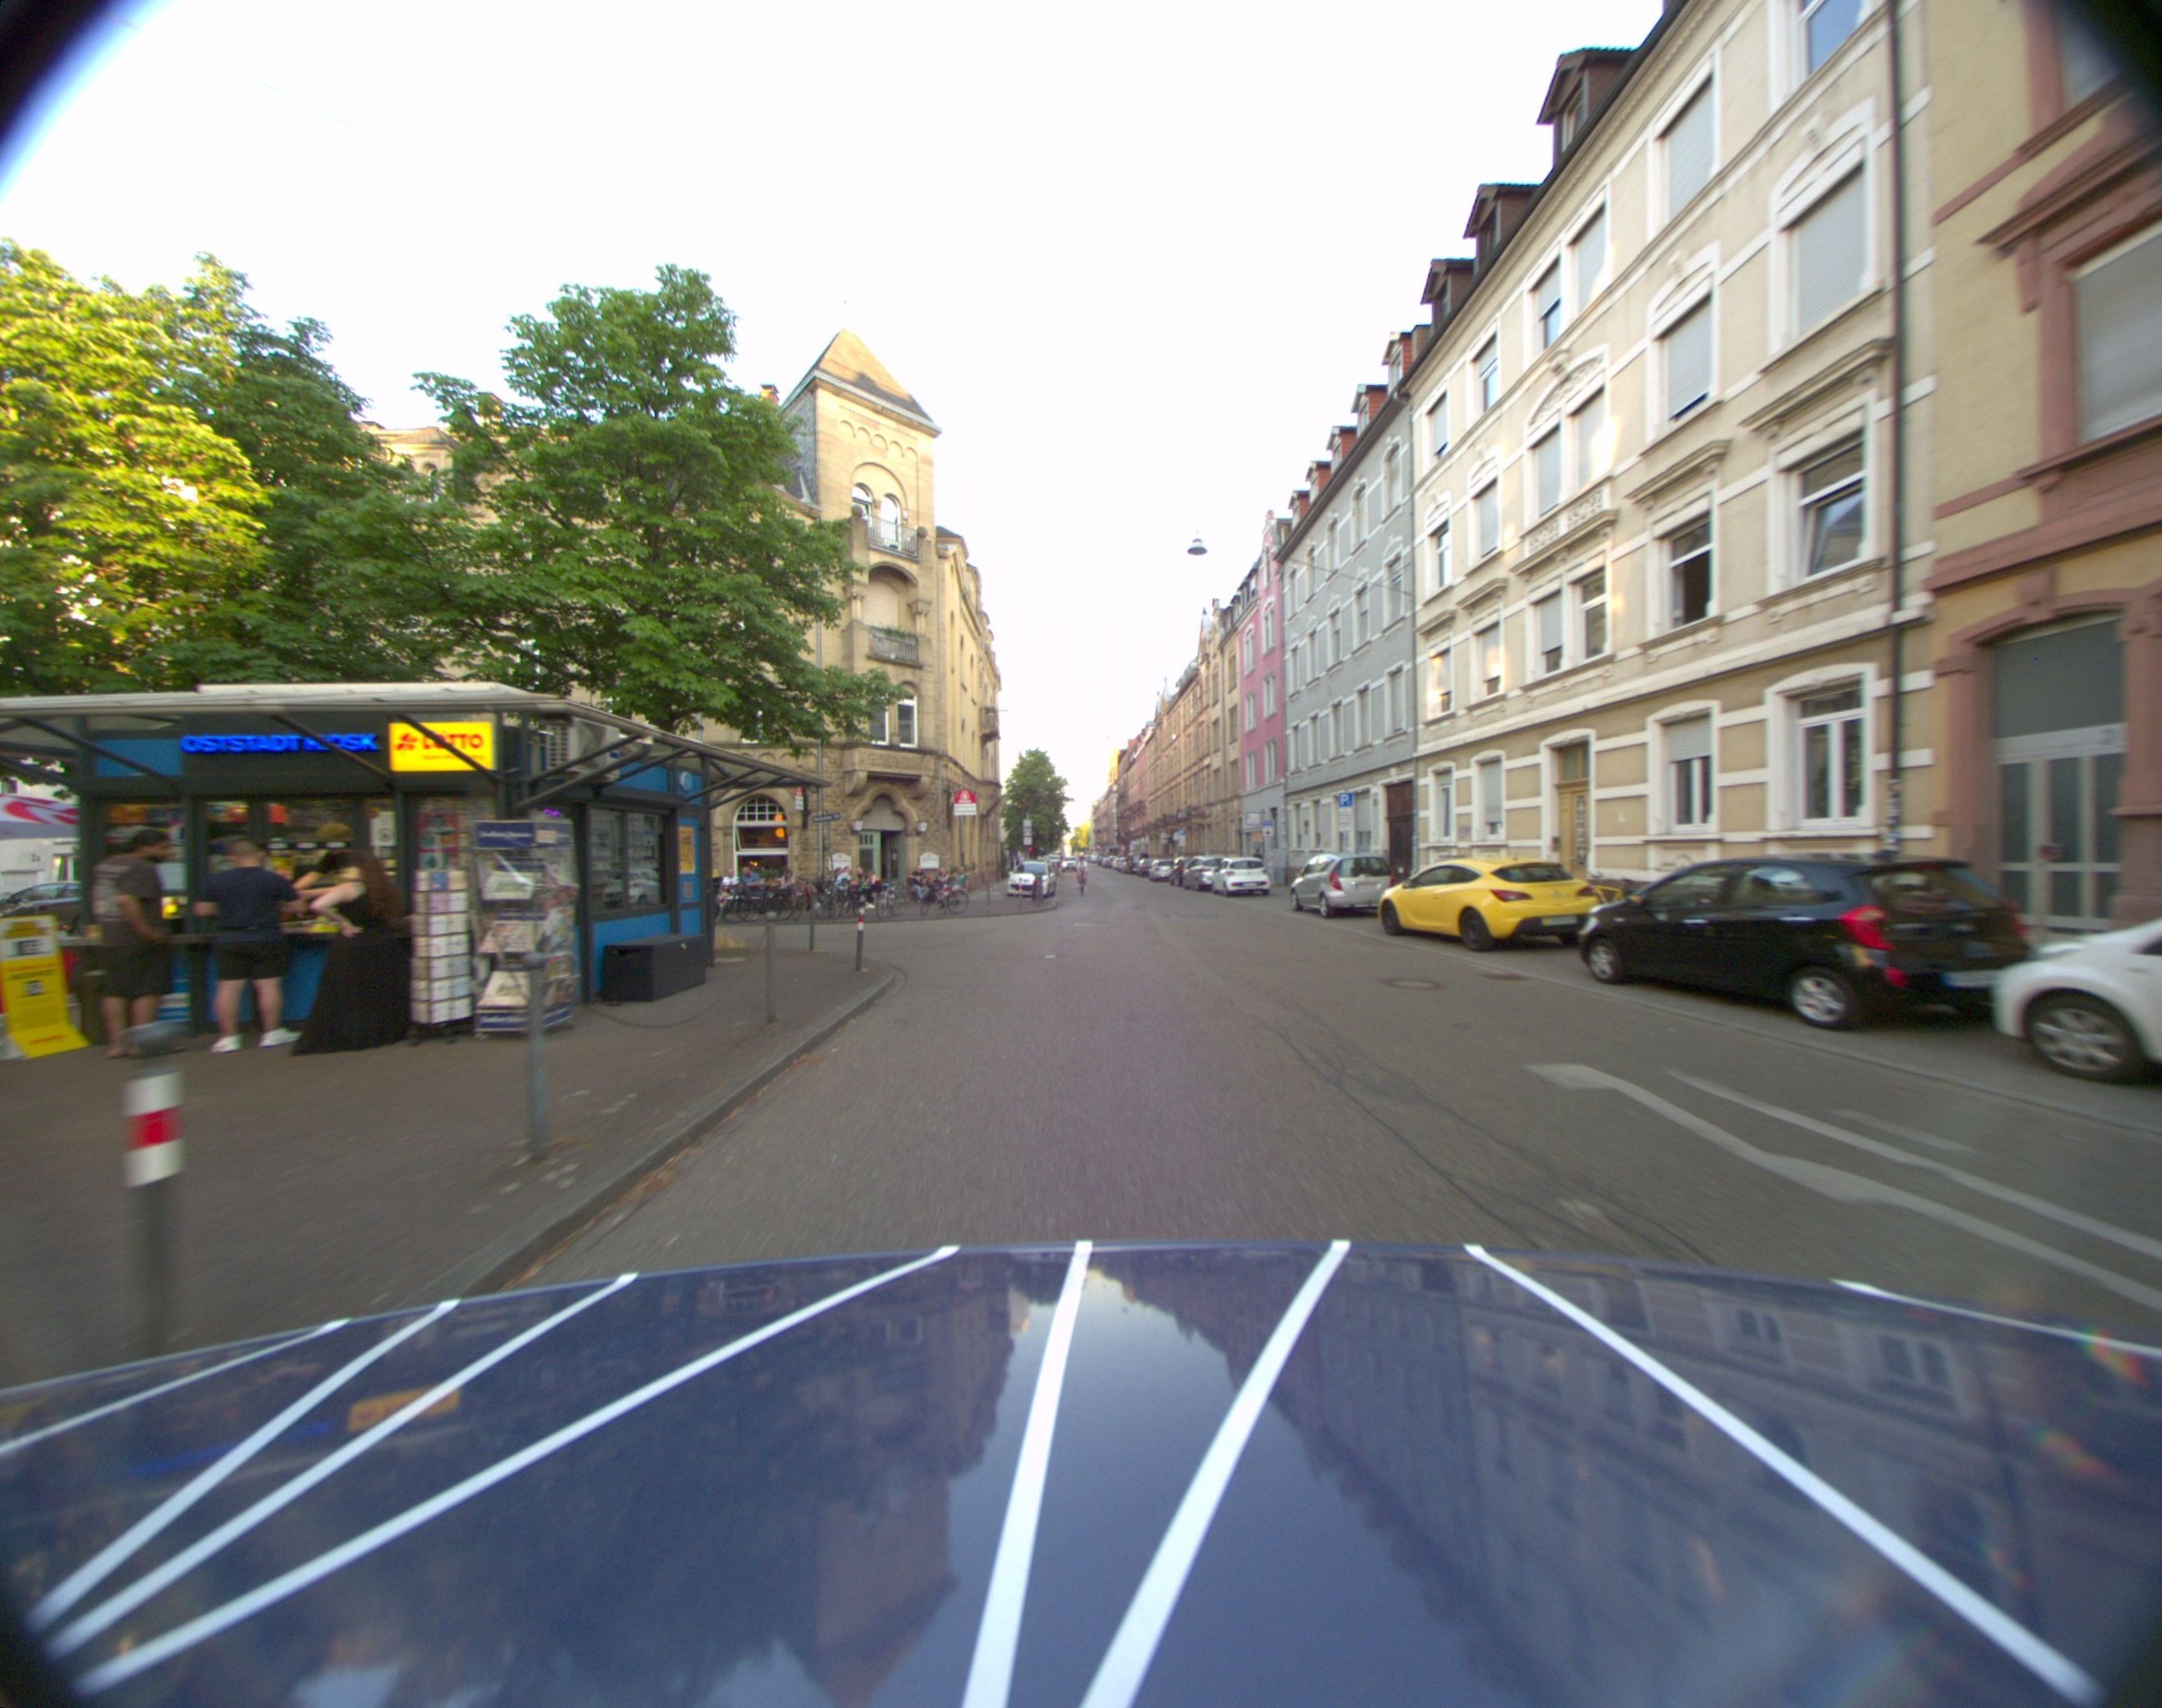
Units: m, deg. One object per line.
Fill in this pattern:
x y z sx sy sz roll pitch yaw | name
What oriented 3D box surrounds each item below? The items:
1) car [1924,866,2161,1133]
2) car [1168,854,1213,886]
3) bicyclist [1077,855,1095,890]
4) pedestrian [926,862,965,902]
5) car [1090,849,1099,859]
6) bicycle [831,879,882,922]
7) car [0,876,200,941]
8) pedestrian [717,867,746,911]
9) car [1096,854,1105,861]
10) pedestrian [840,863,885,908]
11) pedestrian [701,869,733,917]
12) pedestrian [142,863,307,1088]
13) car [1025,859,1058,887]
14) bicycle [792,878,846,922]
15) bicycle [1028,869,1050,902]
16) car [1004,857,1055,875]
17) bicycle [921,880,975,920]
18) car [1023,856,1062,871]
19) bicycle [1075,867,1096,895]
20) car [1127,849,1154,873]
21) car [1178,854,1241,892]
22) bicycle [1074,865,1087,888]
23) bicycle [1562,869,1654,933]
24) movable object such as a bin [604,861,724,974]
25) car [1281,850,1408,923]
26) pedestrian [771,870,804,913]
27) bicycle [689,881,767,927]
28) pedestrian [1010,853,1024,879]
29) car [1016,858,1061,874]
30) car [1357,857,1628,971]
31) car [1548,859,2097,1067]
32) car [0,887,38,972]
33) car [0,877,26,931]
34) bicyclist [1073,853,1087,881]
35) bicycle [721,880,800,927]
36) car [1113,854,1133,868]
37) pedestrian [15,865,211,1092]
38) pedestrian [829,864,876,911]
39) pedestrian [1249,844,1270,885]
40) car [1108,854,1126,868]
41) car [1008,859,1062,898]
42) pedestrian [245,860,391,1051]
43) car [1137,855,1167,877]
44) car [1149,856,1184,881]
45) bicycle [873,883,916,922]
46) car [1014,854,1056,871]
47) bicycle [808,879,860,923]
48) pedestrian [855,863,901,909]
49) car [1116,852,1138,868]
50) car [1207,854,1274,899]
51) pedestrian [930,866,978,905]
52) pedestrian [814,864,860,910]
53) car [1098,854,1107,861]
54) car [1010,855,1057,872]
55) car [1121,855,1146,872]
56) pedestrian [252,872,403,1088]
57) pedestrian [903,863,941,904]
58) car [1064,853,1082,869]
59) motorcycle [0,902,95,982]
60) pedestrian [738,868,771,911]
7.243 0.876 3.923 1.688 1.483 3.613 -3 0 -2 | car
5.944 0.824 41.801 1.757 1.583 4.057 -3 0 -1 | car
0.223 0.819 33.837 0.685 1.503 0.973 -1 0 7 | bicyclist
-4.876 0.999 27.396 0.839 1.388 1.106 1 0 26 | pedestrian
3.280 0.054 185.551 1.757 2.264 4.057 -6 0 0 | car
-6.175 1.259 20.987 0.512 1.060 1.836 -1 0 12 | bicycle
-26.516 1.424 20.186 3.905 1.475 1.826 -2 0 -3 | car
-10.994 1.093 23.901 0.592 1.350 0.737 -1 1 -4 | pedestrian
4.477 0.772 175.931 1.757 1.426 4.057 -6 0 0 | car
-7.181 1.007 25.021 0.839 1.389 1.106 1 3 39 | pedestrian
-10.854 1.153 22.686 0.715 1.396 0.793 -1 1 -17 | pedestrian
-6.683 0.890 5.971 0.679 1.628 0.589 -1 1 -31 | pedestrian
-2.207 1.046 43.322 1.768 1.476 4.556 1 0 -2 | car
-7.209 1.245 21.014 0.502 1.105 1.836 -1 0 12 | bicycle
-1.547 1.147 28.215 0.686 1.144 2.115 2 0 0 | bicycle
-4.447 1.023 65.558 4.302 1.443 1.823 -1 0 -2 | car
-3.759 1.287 21.532 1.478 1.033 0.431 -1 1 -42 | bicycle
-4.244 1.051 84.628 4.302 1.519 1.823 -1 0 -2 | car
0.227 1.187 33.858 0.685 1.144 2.116 -1 0 7 | bicycle
5.406 0.622 69.846 1.874 1.949 4.291 -4 0 -3 | car
5.927 0.827 35.582 1.838 1.583 4.671 -3 0 -3 | car
-0.044 1.202 40.688 0.686 1.144 2.115 -1 0 -1 | bicycle
10.101 0.868 14.654 0.481 1.133 1.863 -1 0 0 | bicycle
-5.840 0.856 10.676 1.224 1.467 0.766 2 1 8 | movable object such as a bin
6.650 0.751 19.669 1.804 1.583 4.145 -3 0 1 | car
-9.160 1.151 23.747 0.706 1.275 0.877 -1 0 -6 | pedestrian
-9.526 1.348 20.564 1.835 1.154 0.538 -1 1 -15 | bicycle
-4.479 0.819 52.973 0.851 1.756 0.834 0 1 3 | pedestrian
-4.123 1.167 74.163 4.302 1.519 1.823 -1 0 -2 | car
6.742 0.868 13.221 1.844 1.517 4.800 -3 0 -3 | car
6.896 0.848 7.723 1.734 1.483 3.740 -3 0 -5 | car
-20.925 1.405 12.844 3.904 1.475 1.826 -2 0 -1 | car
-31.322 1.442 20.213 3.904 1.475 1.826 -2 0 0 | car
-0.054 0.680 40.730 0.686 1.503 0.973 -1 0 -1 | bicyclist
-8.507 1.306 20.222 1.835 1.144 0.557 -1 1 -15 | bicycle
5.029 0.808 91.648 1.758 1.426 4.056 -6 0 -4 | car
-7.364 0.906 5.813 0.678 1.628 0.590 -1 1 -2 | pedestrian
-7.187 1.040 23.912 0.839 1.389 1.106 1 3 40 | pedestrian
8.600 0.509 36.651 0.851 1.937 0.834 -1 1 3 | pedestrian
4.787 0.996 101.960 1.758 1.663 4.056 -6 0 -4 | car
-1.917 1.006 32.701 1.767 1.476 4.464 2 0 3 | car
-6.869 0.874 6.872 0.678 1.628 0.590 -1 1 -9 | pedestrian
5.573 0.913 60.291 1.758 1.466 4.279 -6 0 -1 | car
5.704 0.936 51.218 1.757 1.466 4.057 -6 0 0 | car
-5.110 1.310 20.899 0.447 0.974 1.707 -1 0 12 | bicycle
-4.783 0.914 79.487 4.302 1.666 1.823 -1 0 -2 | car
-6.717 1.263 20.781 0.475 1.064 1.836 -1 0 12 | bicycle
-6.580 1.008 24.642 0.839 1.389 1.106 1 3 39 | pedestrian
5.018 0.678 82.595 1.758 1.466 4.056 -6 0 -4 | car
6.296 0.844 30.428 1.757 1.567 3.927 -3 0 -1 | car
-4.453 1.080 26.628 1.422 1.278 0.839 0 1 -44 | pedestrian
-7.797 1.041 24.284 0.839 1.389 1.106 1 3 40 | pedestrian
4.829 0.781 171.134 1.757 1.426 4.057 -6 0 0 | car
-4.453 0.866 71.757 4.302 1.519 1.823 -1 0 -2 | car
5.158 0.915 75.002 1.758 1.466 4.056 -6 0 -4 | car
-5.800 0.919 5.896 0.679 1.530 0.589 -1 1 -31 | pedestrian
-5.526 1.024 26.454 0.899 1.388 1.009 1 -1 -44 | pedestrian
-0.976 0.766 88.765 1.957 1.729 4.284 -3 0 -1 | car
-15.172 1.226 10.674 1.831 1.048 0.579 -1 1 0 | motorcycle
-10.267 1.104 23.908 0.731 1.313 0.667 -1 1 -4 | pedestrian
